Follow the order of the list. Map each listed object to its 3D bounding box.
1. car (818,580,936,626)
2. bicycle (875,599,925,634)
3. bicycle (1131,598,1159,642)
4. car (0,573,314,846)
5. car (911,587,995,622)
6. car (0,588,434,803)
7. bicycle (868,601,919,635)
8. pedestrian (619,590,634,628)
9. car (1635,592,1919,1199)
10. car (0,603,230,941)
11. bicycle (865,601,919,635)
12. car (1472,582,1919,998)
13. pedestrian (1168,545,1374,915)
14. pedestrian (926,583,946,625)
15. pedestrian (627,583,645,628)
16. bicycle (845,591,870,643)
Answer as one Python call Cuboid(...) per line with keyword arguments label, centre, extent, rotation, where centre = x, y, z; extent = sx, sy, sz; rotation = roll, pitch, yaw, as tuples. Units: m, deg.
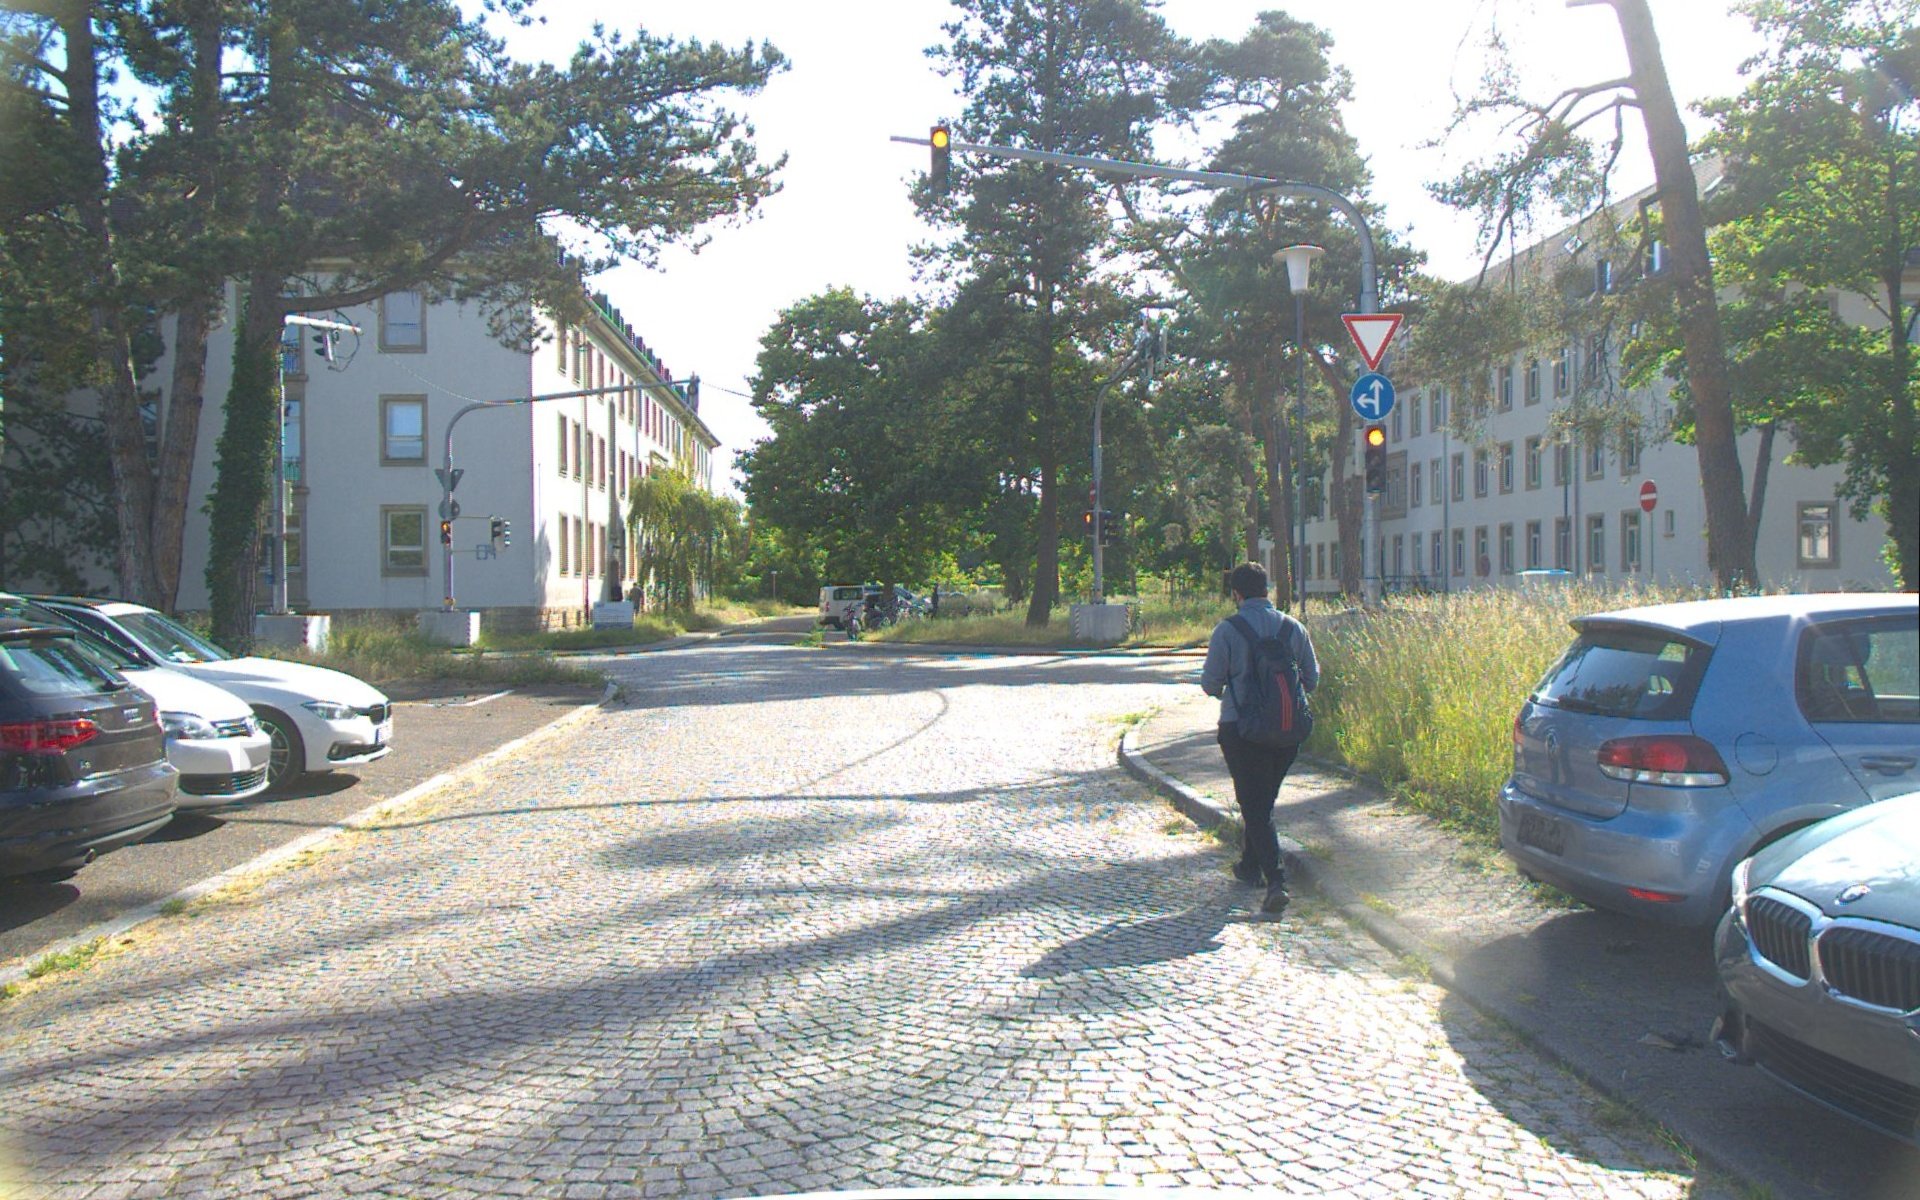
Cuboid(label="car", centre=(-3.703, 0.115, 73.511), extent=(4.980, 1.951, 1.993), rotation=(-1, 0, -13))
Cuboid(label="bicycle", centre=(-2.071, 0.555, 56.923), extent=(1.694, 1.185, 0.560), rotation=(-1, 0, -8))
Cuboid(label="bicycle", centre=(4.944, 0.515, 44.266), extent=(0.706, 1.134, 2.585), rotation=(-1, 0, 6))
Cuboid(label="car", centre=(-6.523, 0.646, 10.953), extent=(3.804, 1.643, 1.659), rotation=(2, 0, -5))
Cuboid(label="car", centre=(-0.340, 0.212, 77.634), extent=(3.677, 1.607, 1.737), rotation=(0, 0, -11))
Cuboid(label="car", centre=(-6.582, 0.723, 13.568), extent=(3.905, 1.522, 1.773), rotation=(2, 0, 1))
Cuboid(label="bicycle", centre=(-2.258, 0.597, 56.227), extent=(1.694, 1.132, 0.483), rotation=(-1, 0, -8))
Cuboid(label="pedestrian", centre=(-13.896, 0.378, 68.896), extent=(0.596, 1.587, 0.544), rotation=(0, 0, -10))
Cuboid(label="car", centre=(4.493, 0.656, 4.529), extent=(4.531, 1.481, 1.867), rotation=(-3, 1, -6))
Cuboid(label="car", centre=(-5.962, 0.725, 8.217), extent=(3.861, 1.470, 1.689), rotation=(3, 0, -5))
Cuboid(label="bicycle", centre=(-2.289, 0.600, 55.680), extent=(1.799, 1.132, 0.494), rotation=(-1, 0, -8))
Cuboid(label="car", centre=(4.287, 0.671, 7.111), extent=(3.601, 1.468, 1.664), rotation=(-2, 0, -4))
Cuboid(label="pedestrian", centre=(1.572, 0.636, 8.478), extent=(0.738, 1.755, 0.828), rotation=(4, 0, -4))
Cuboid(label="pedestrian", centre=(-1.048, 0.185, 72.114), extent=(0.746, 1.815, 0.682), rotation=(-1, 0, -12))
Cuboid(label="pedestrian", centre=(-12.936, 0.215, 66.069), extent=(0.598, 1.783, 0.626), rotation=(0, 0, -21))
Cuboid(label="bicycle", centre=(-3.252, 0.513, 52.387), extent=(0.738, 1.608, 2.534), rotation=(0, 0, -4))
